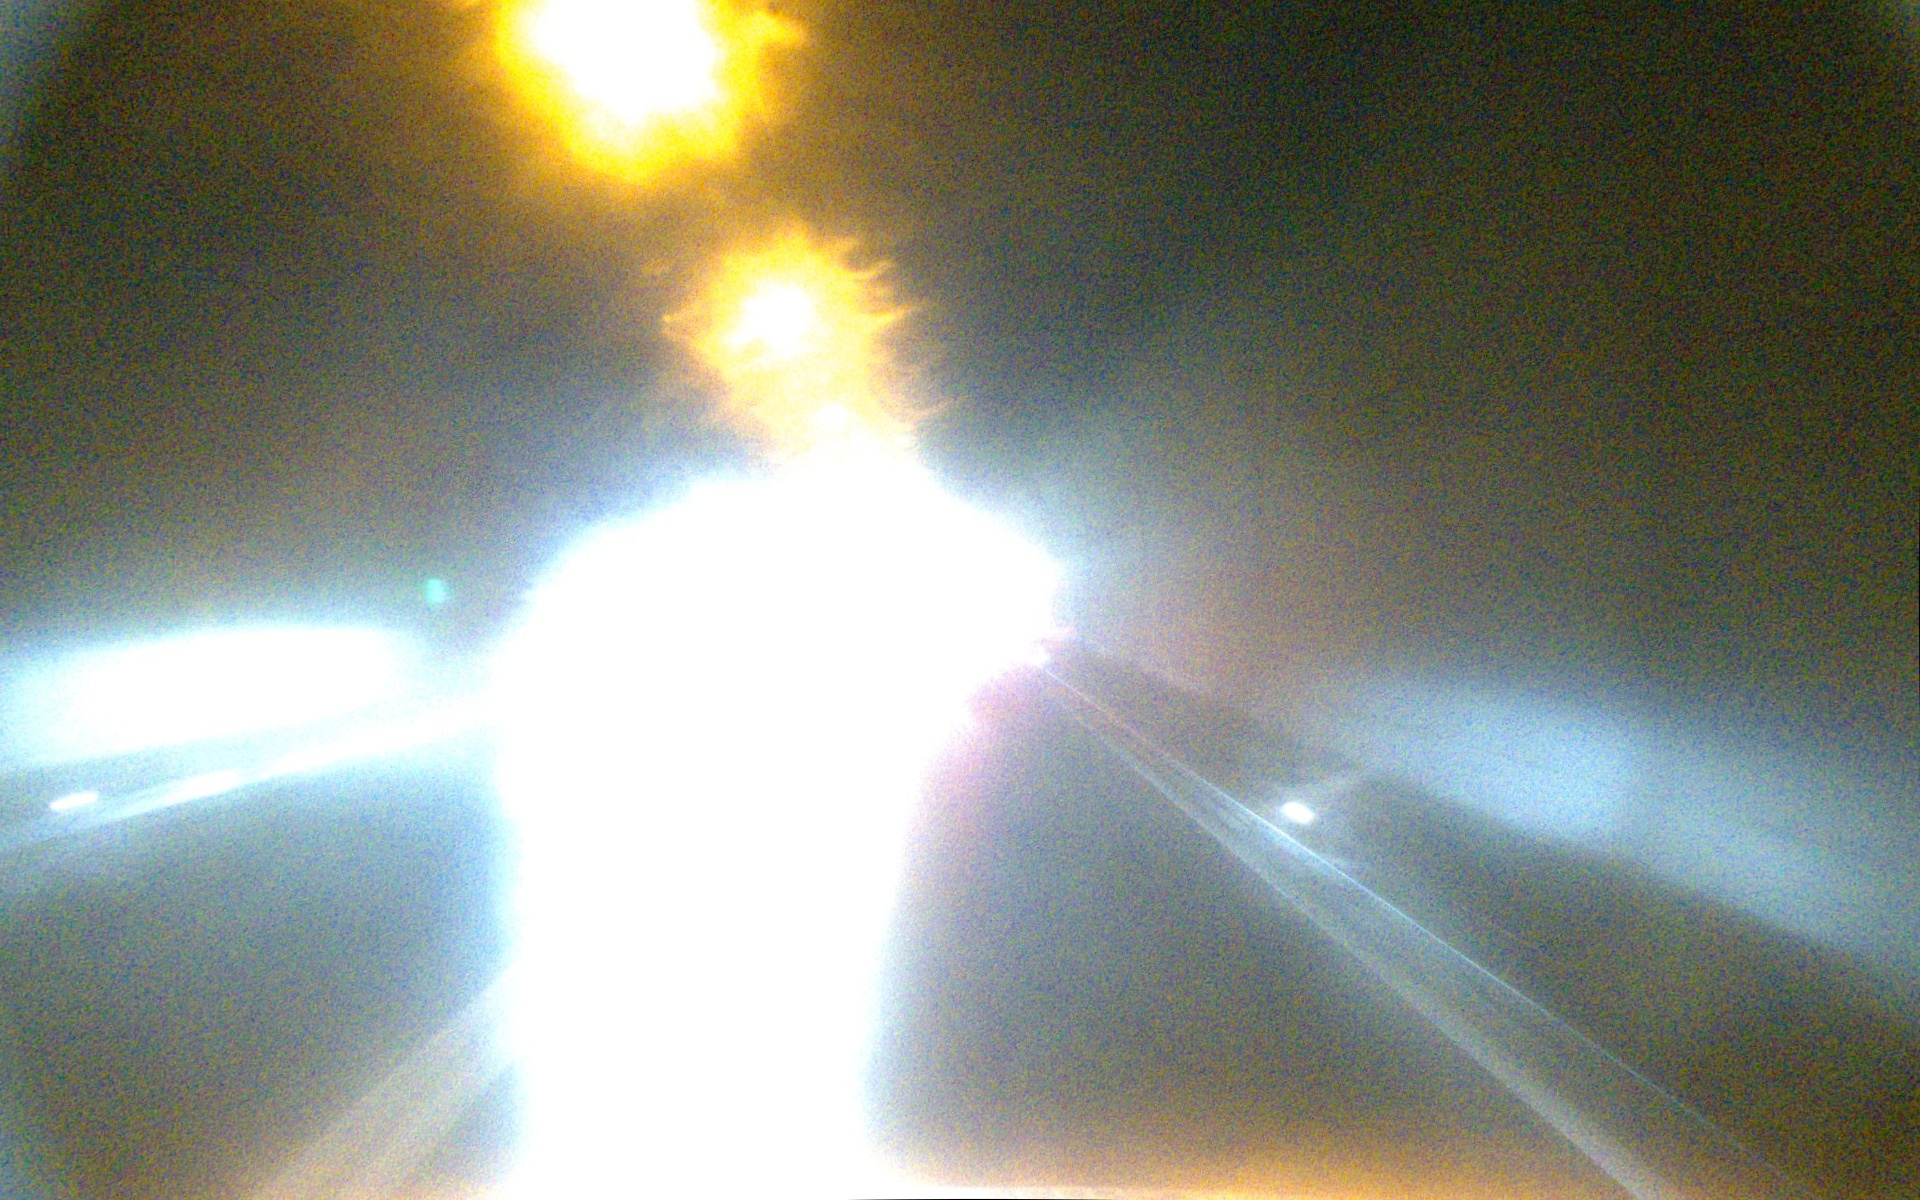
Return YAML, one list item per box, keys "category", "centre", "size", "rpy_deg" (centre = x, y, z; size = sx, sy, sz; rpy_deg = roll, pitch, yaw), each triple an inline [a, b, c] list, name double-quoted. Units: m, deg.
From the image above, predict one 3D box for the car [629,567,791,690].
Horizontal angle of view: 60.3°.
- category: "car"
  centre: [-3.840, 0.407, 26.148]
  size: [1.953, 1.739, 4.279]
  rpy_deg: [1, 0, -1]

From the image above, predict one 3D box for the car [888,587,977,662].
- category: "car"
  centre: [-0.680, 0.560, 40.384]
  size: [2.047, 1.691, 3.999]
  rpy_deg: [1, 0, -1]

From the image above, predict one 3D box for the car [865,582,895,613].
- category: "car"
  centre: [-5.547, -0.187, 115.342]
  size: [1.953, 2.049, 3.999]
  rpy_deg: [1, 0, -1]
